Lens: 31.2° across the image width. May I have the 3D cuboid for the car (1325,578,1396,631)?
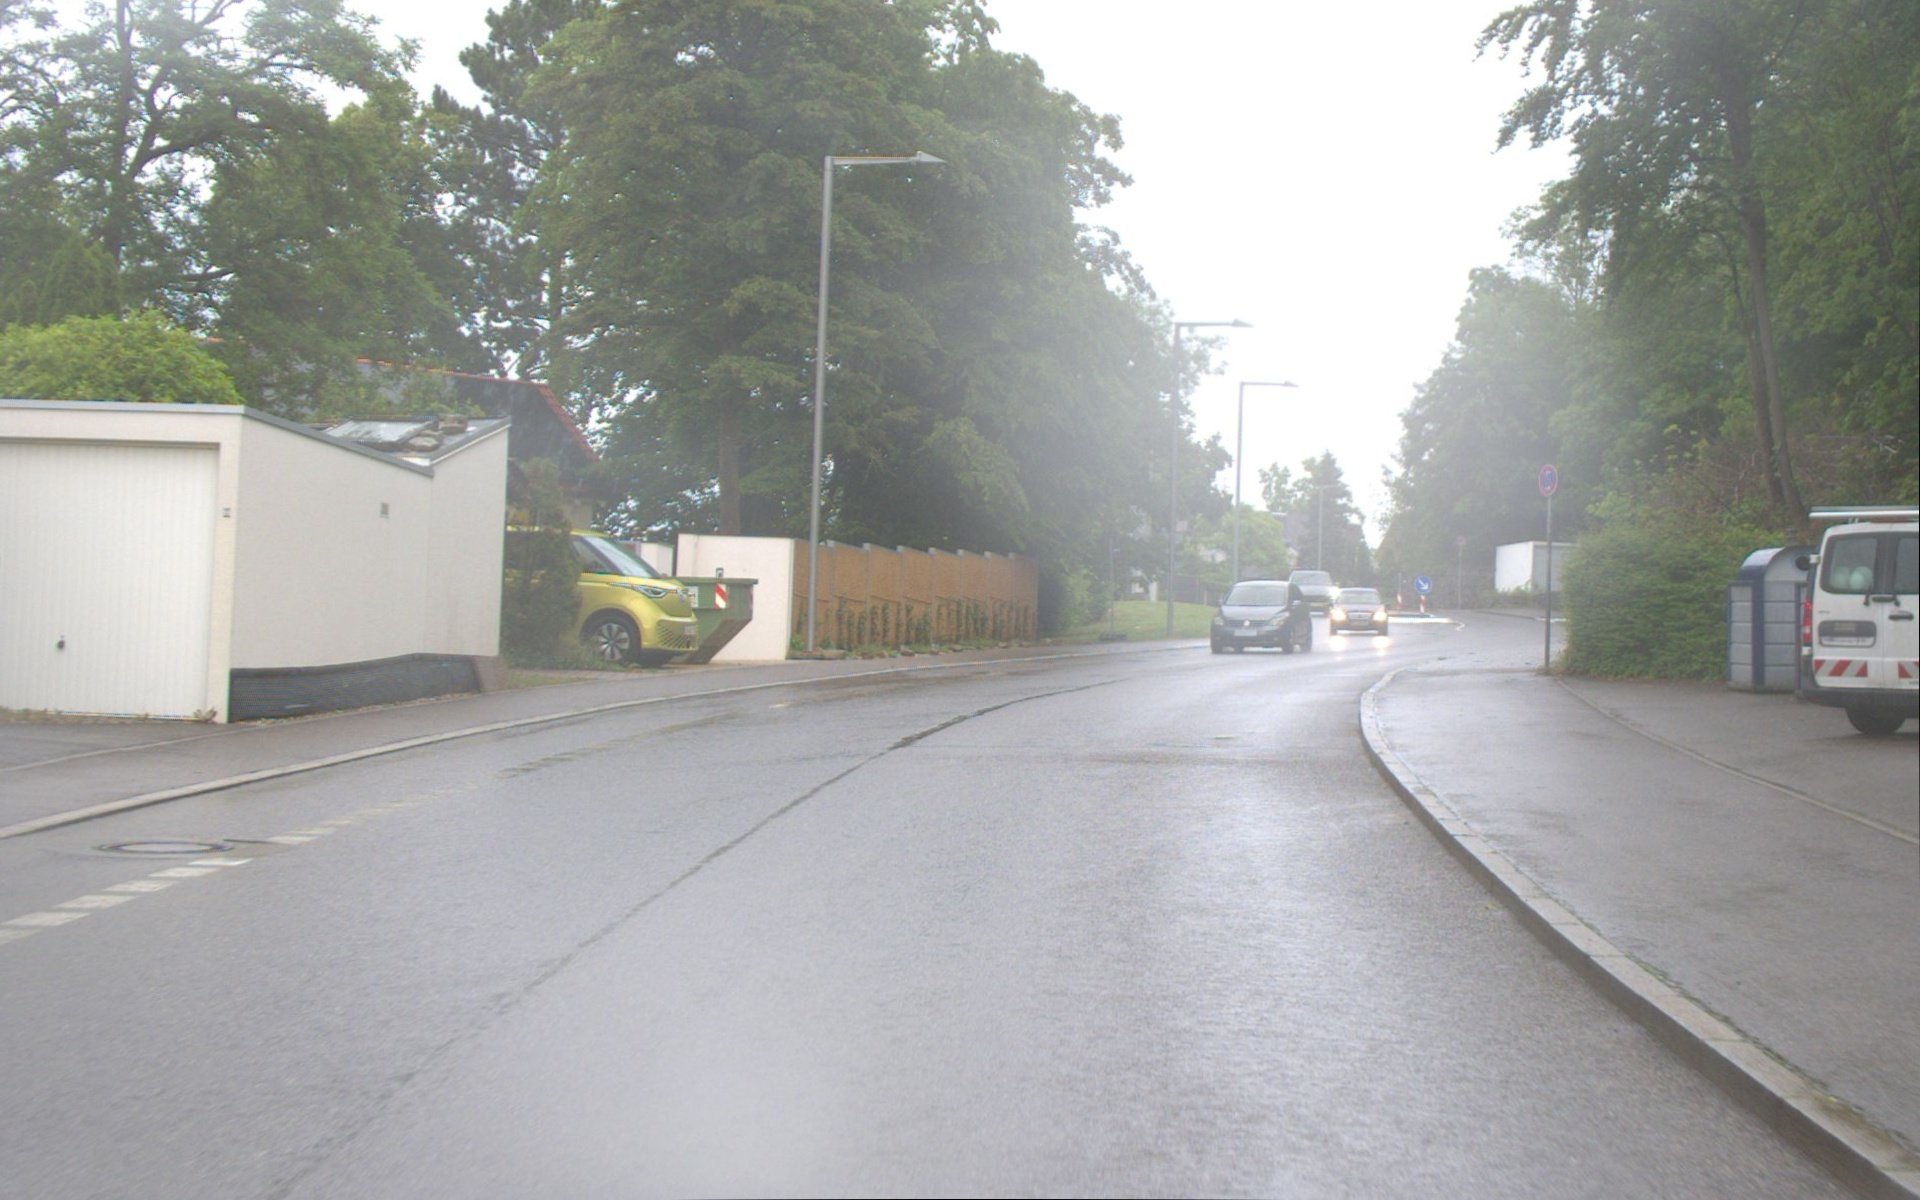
[{"bbox_3d":[12.048,0.124,103.179,1.835,1.506,4.167,1,0,10],"label":"car"}]

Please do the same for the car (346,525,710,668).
[{"bbox_3d":[-5.889,-0.070,47.103,4.505,1.853,2.088,1,1,12],"label":"car"}]

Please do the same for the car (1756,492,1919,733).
[{"bbox_3d":[9.278,0.086,29.579,4.828,1.934,2.156,0,1,-38],"label":"car"}]

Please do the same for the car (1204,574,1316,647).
[{"bbox_3d":[6.606,0.218,75.204,1.835,1.506,4.615,1,0,12],"label":"car"}]
